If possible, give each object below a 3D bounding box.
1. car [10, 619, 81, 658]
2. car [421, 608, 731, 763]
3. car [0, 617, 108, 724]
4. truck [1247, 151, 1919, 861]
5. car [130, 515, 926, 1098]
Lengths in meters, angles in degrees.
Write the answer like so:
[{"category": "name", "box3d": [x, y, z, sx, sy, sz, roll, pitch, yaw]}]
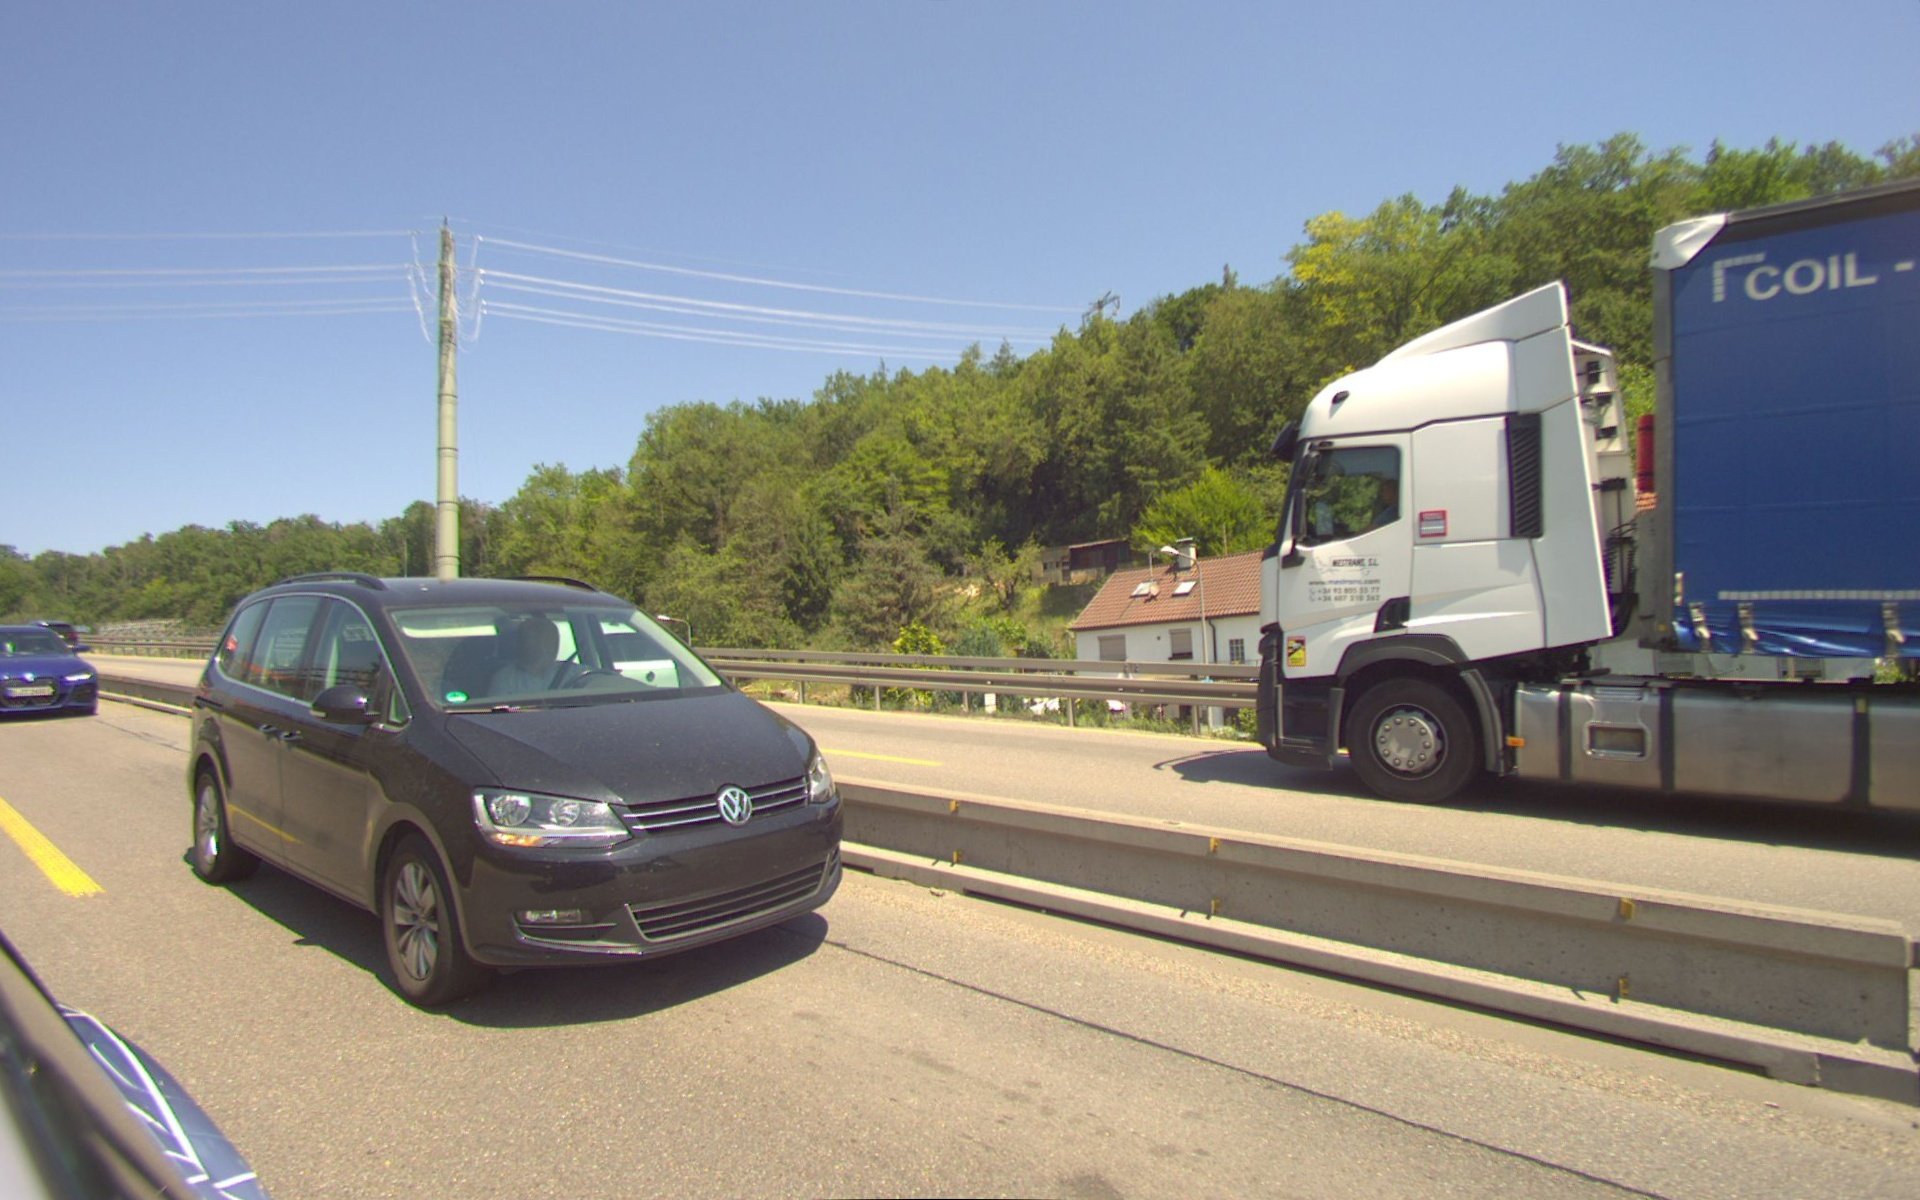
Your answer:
[{"category": "car", "box3d": [-44.534, 1.839, 49.254, 4.657, 1.755, 1.887, 0, -1, 39]}, {"category": "car", "box3d": [-4.696, 0.914, 12.085, 4.187, 1.547, 1.654, -2, -2, 40]}, {"category": "car", "box3d": [-15.778, 1.104, 16.688, 4.782, 1.567, 1.872, -2, -2, 40]}, {"category": "truck", "box3d": [6.062, -0.520, 7.490, 6.878, 4.111, 3.102, -2, -2, 42]}, {"category": "car", "box3d": [-2.743, 0.682, 5.449, 5.301, 1.719, 1.837, -2, -2, 41]}]
